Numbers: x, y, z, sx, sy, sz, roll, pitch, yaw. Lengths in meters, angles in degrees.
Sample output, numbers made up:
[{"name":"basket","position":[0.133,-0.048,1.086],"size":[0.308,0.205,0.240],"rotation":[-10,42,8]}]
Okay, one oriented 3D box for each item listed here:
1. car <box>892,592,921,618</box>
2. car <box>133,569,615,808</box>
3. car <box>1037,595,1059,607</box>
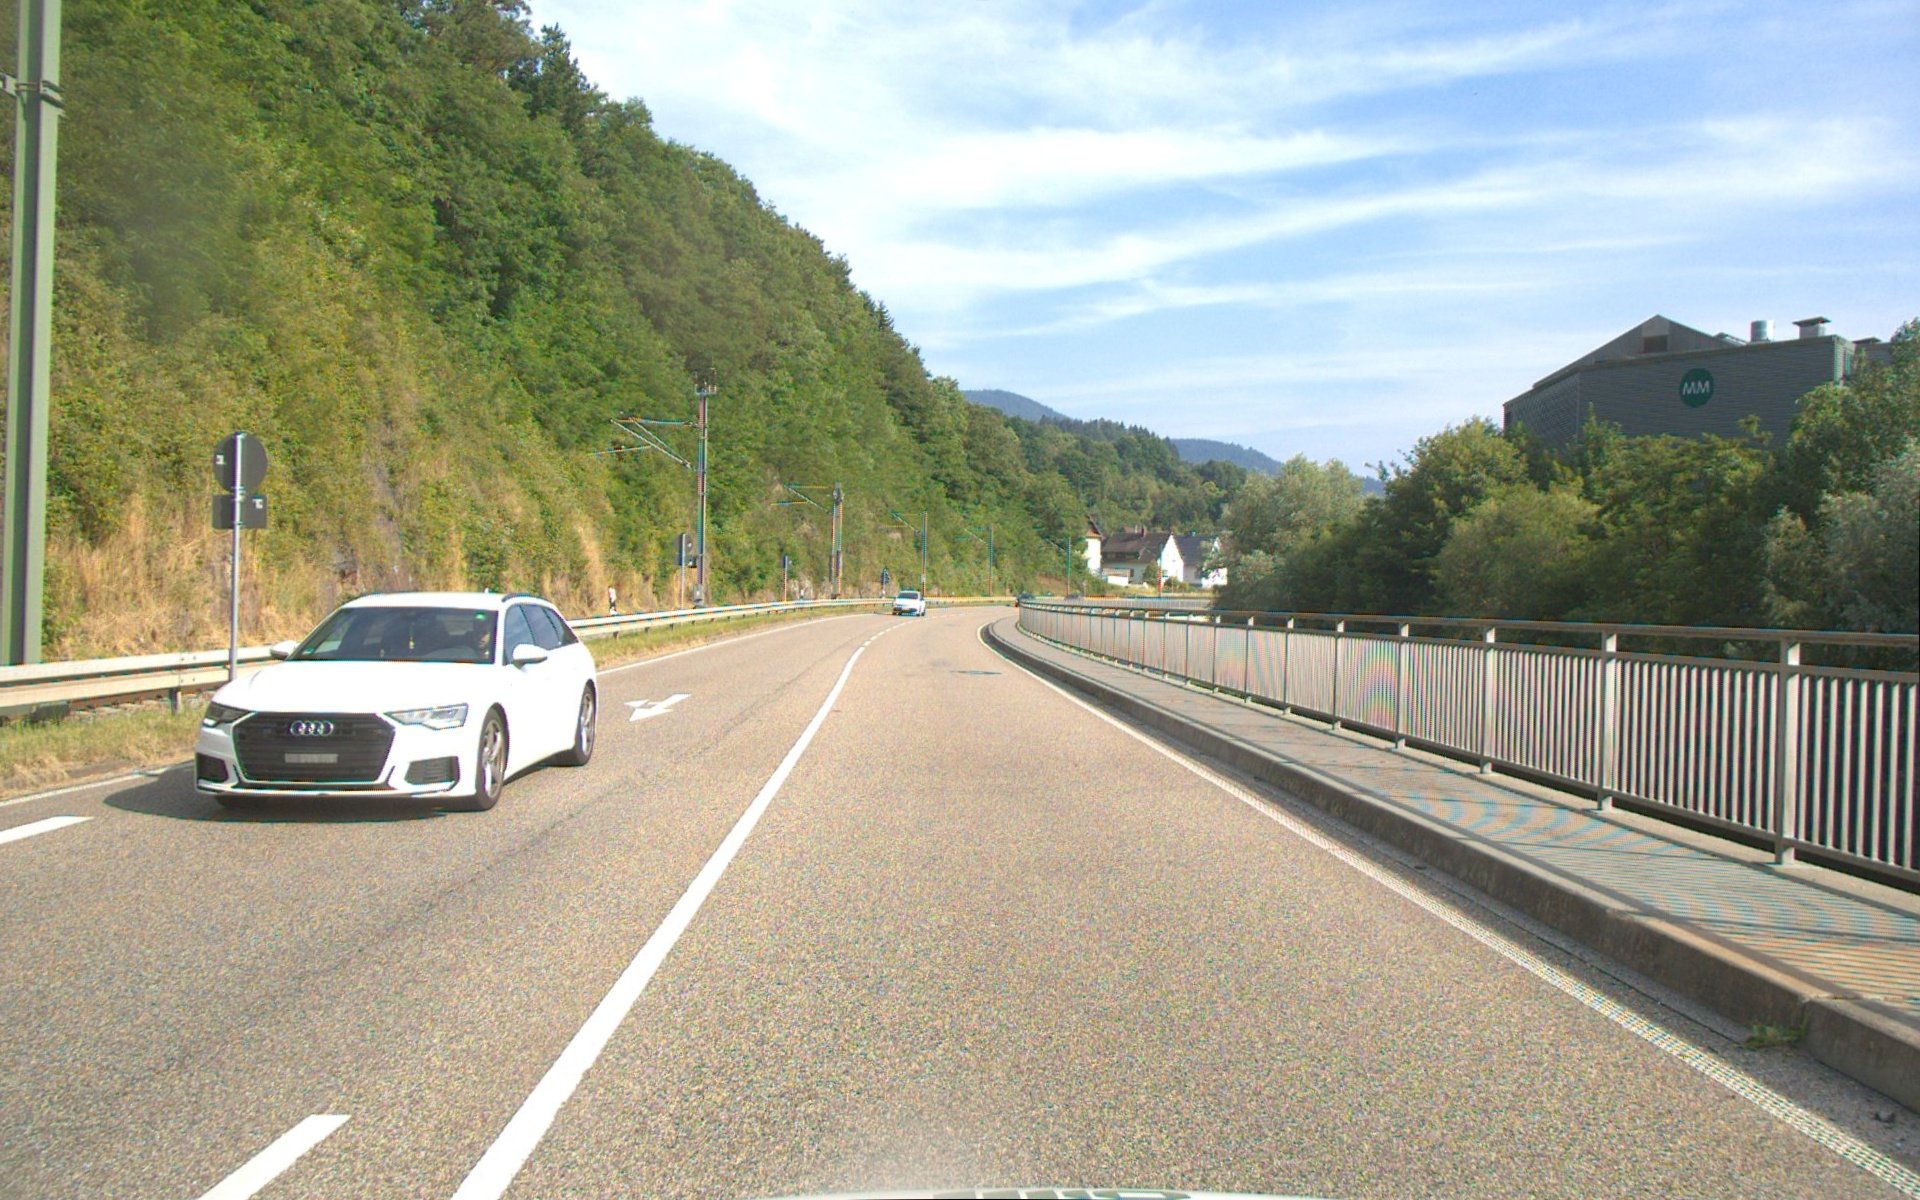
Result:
[{"name":"car","position":[-3.390,0.300,105.293],"size":[1.810,1.571,4.603],"rotation":[0,0,-1]},{"name":"car","position":[-4.162,0.552,12.723],"size":[2.021,1.464,4.686],"rotation":[1,0,0]},{"name":"car","position":[10.588,0.104,199.110],"size":[1.808,1.426,4.479],"rotation":[0,0,14]}]
